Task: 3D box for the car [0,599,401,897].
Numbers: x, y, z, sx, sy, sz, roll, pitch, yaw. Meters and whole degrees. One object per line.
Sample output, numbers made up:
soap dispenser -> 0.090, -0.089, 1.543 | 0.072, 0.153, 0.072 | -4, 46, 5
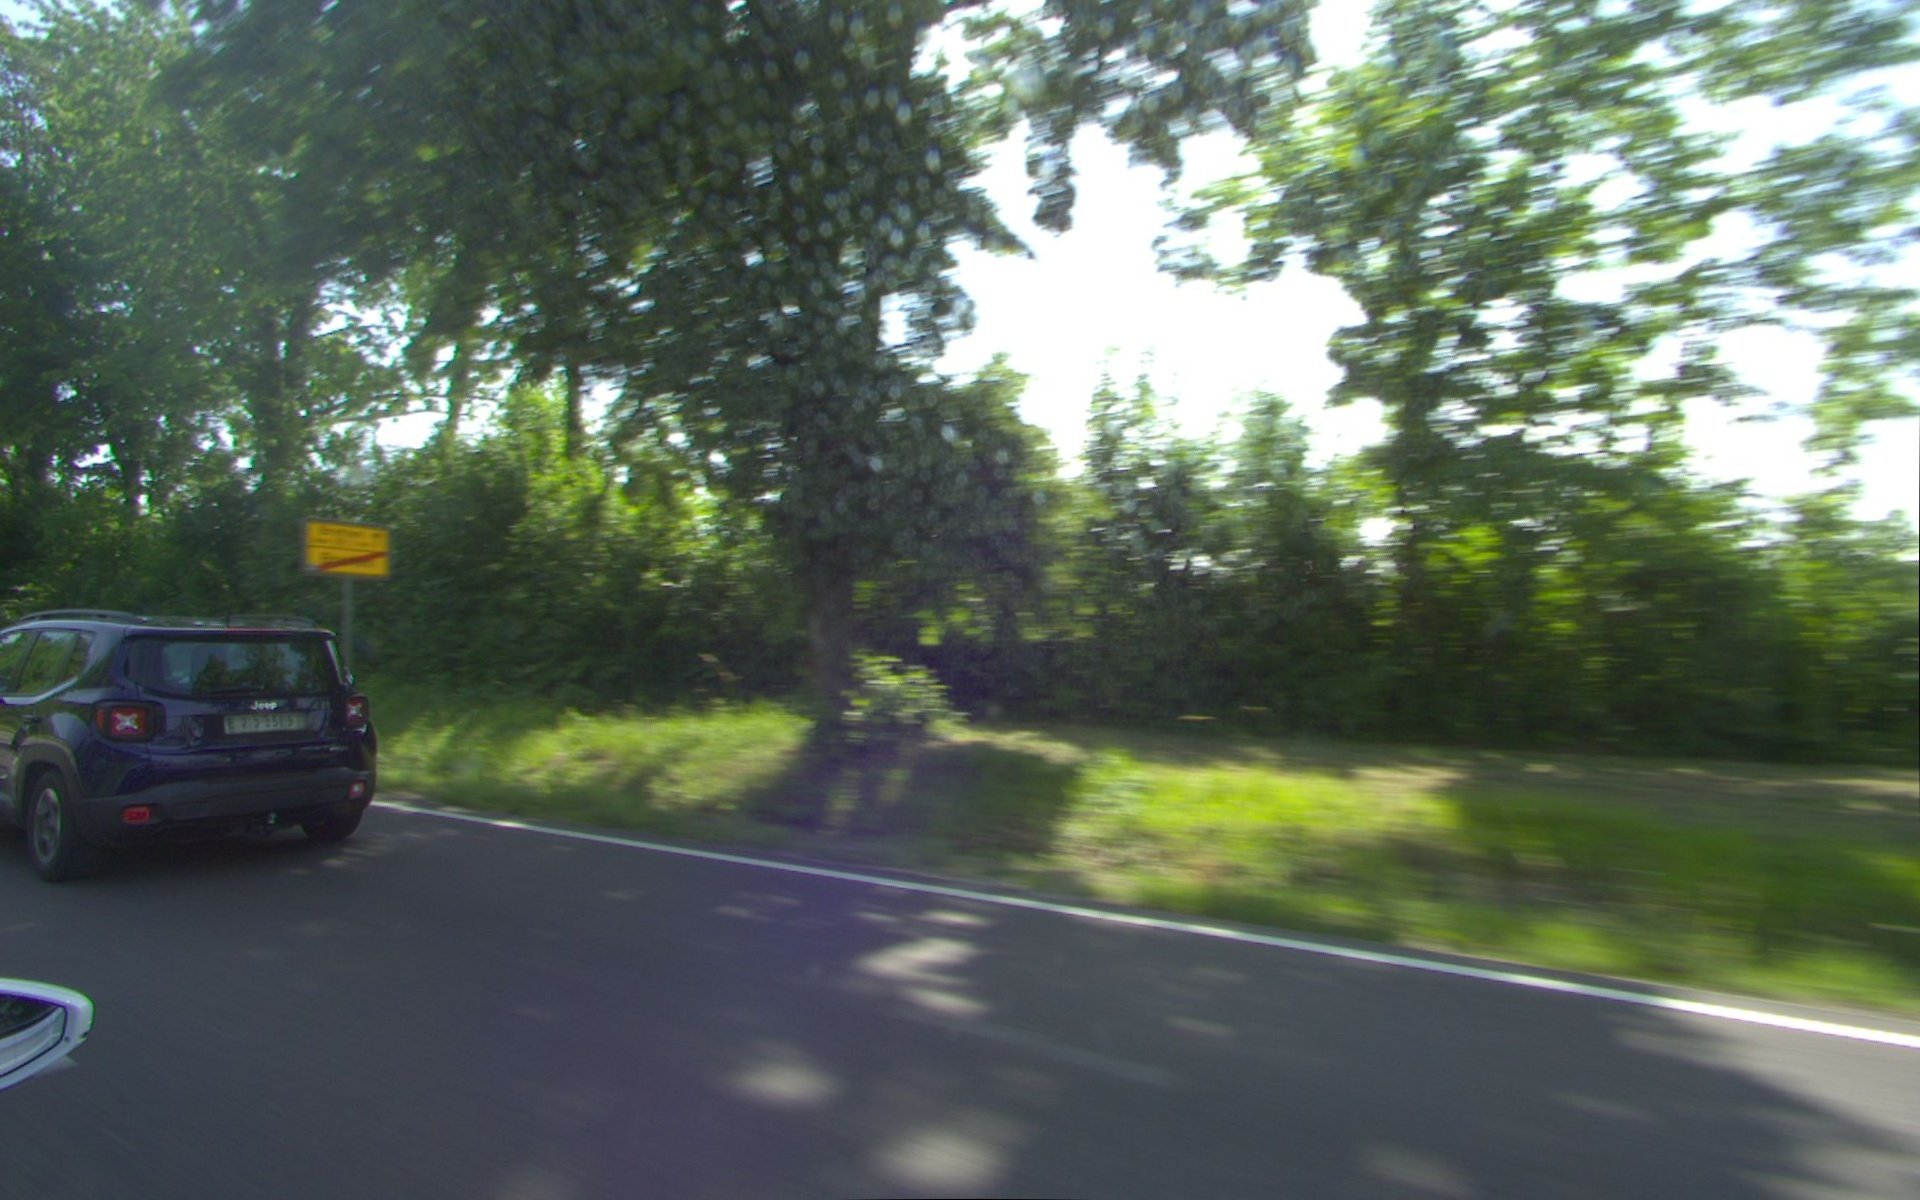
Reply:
car -> -6.136, 0.892, 7.428 | 3.942, 1.676, 1.767 | -2, -1, 31
